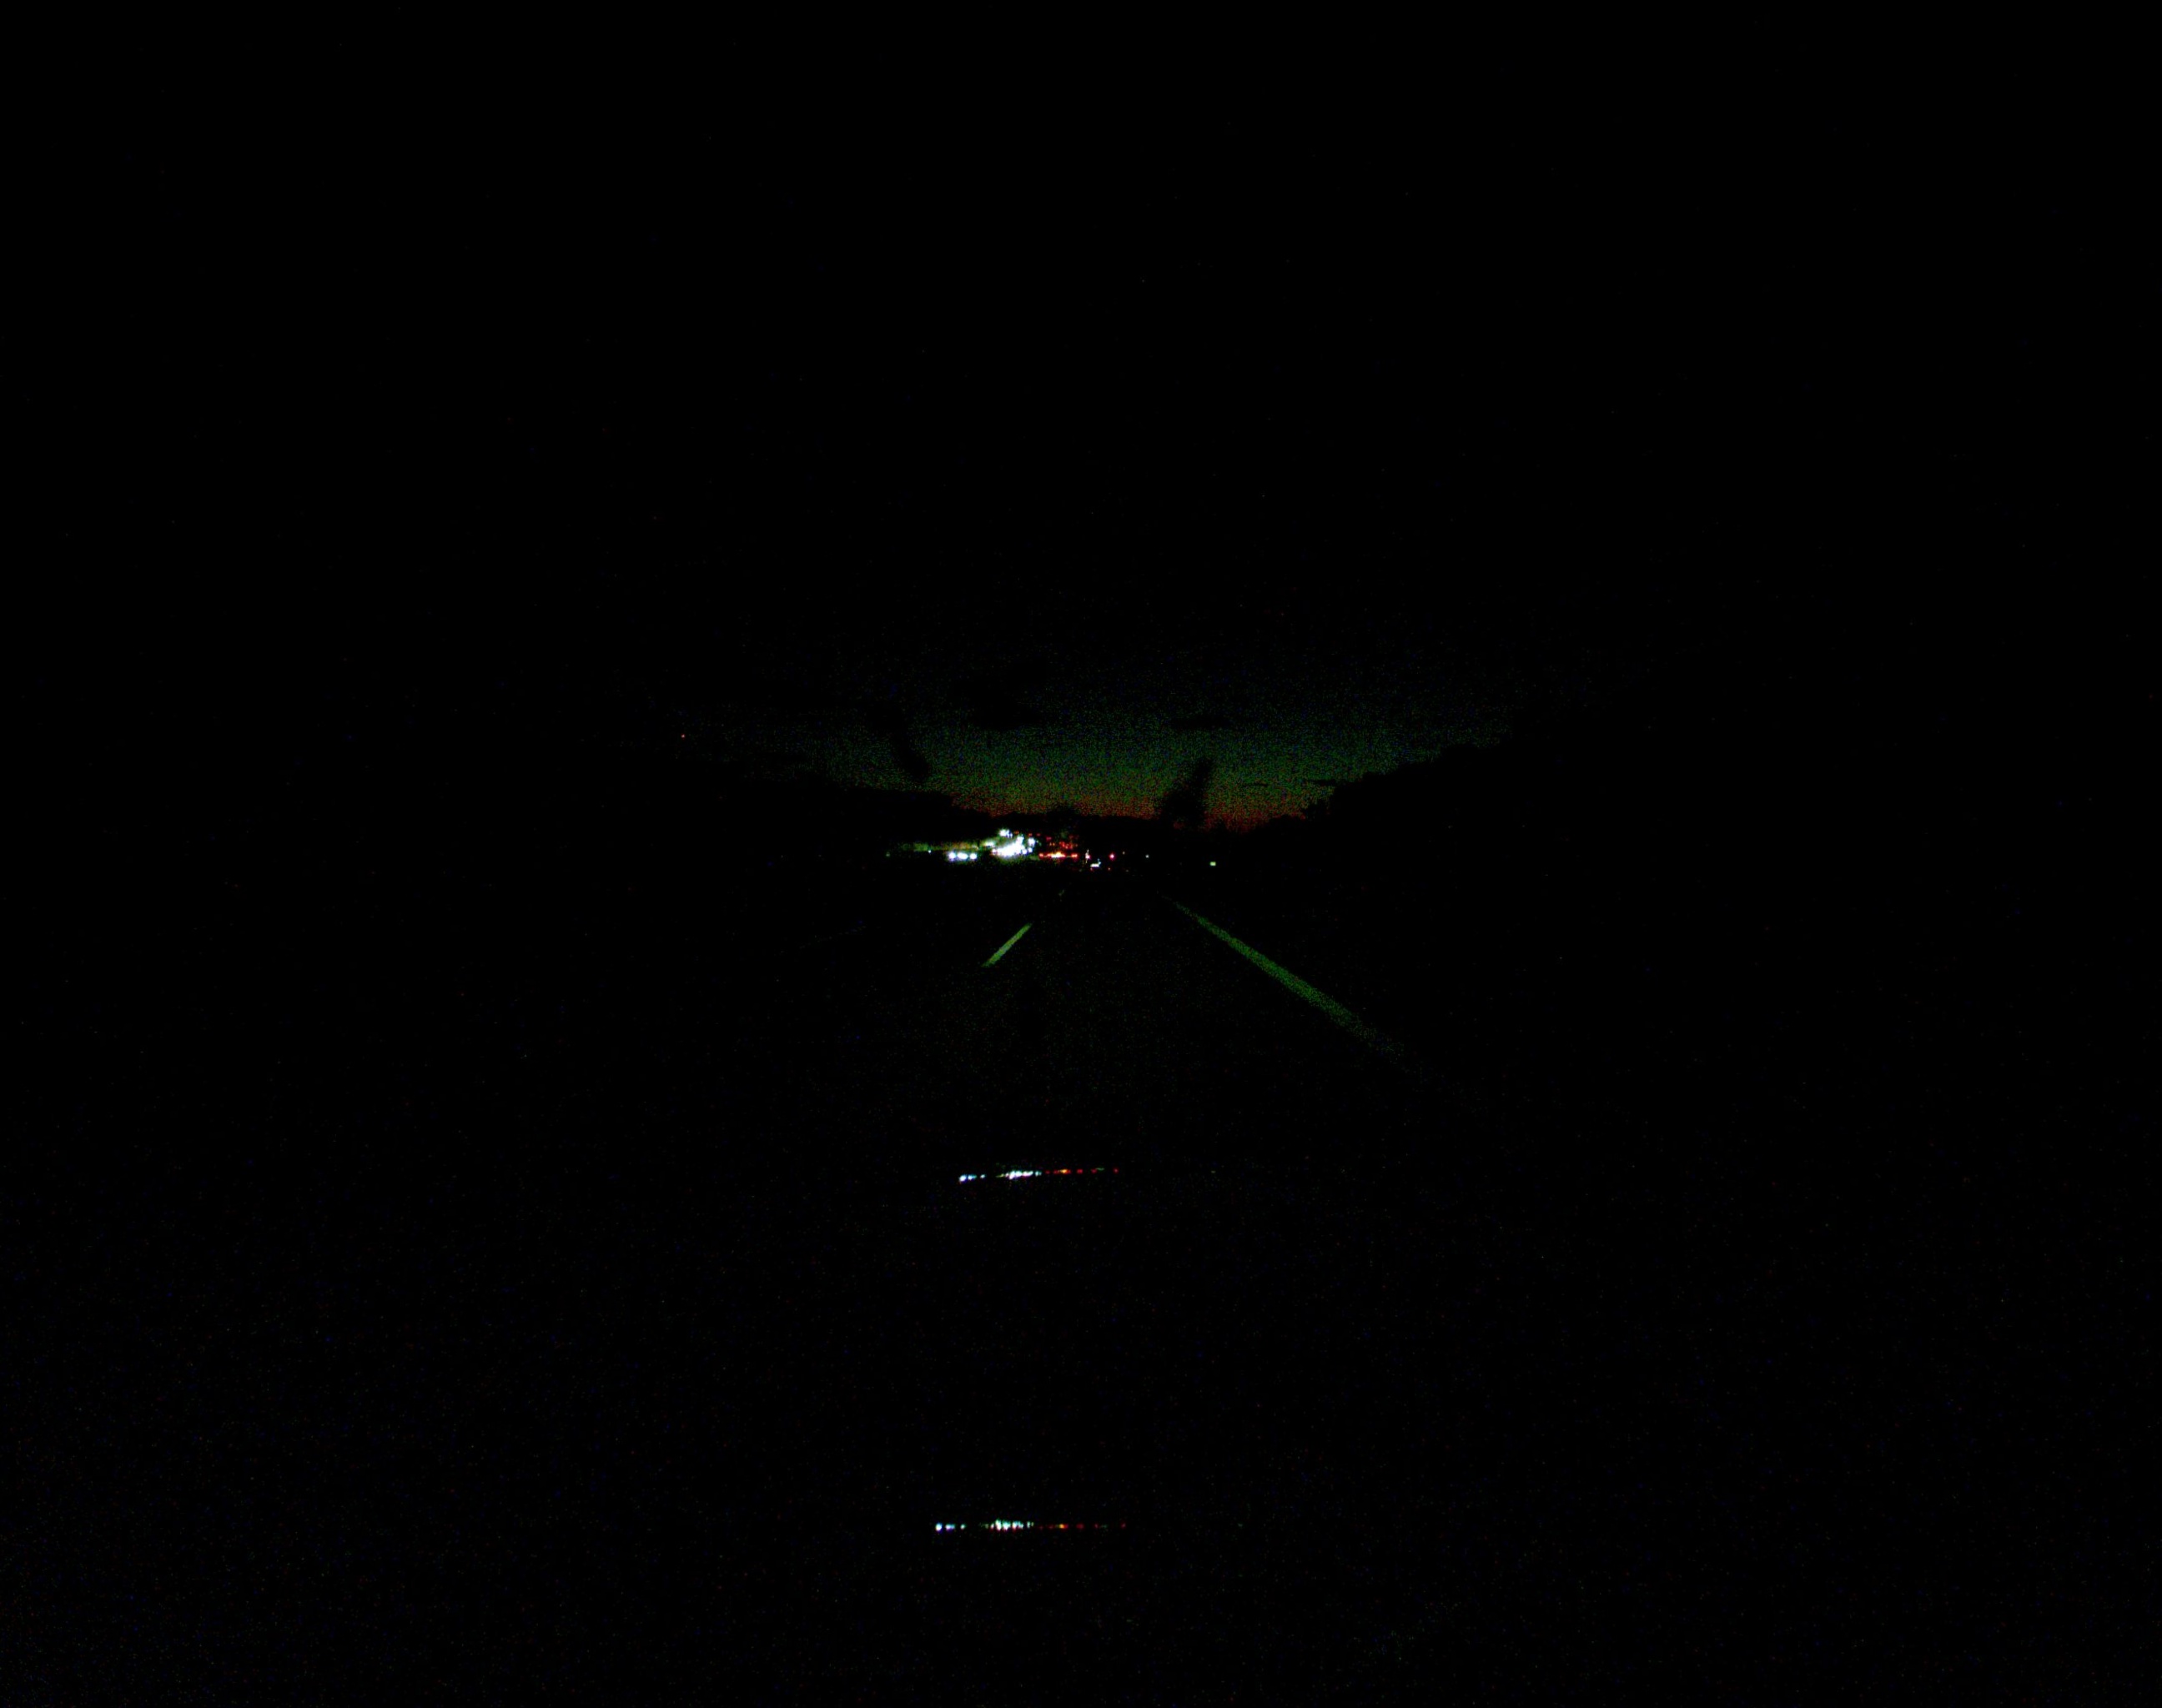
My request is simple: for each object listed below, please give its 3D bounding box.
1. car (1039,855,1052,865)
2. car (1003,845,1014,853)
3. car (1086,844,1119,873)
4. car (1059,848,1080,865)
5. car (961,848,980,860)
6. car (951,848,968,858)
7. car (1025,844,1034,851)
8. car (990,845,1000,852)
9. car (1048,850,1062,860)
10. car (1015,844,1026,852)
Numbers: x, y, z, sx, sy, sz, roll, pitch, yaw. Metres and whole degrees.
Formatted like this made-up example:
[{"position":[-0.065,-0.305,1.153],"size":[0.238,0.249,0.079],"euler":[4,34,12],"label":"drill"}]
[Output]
[{"position":[-5.341,0.895,123.537],"size":[1.543,1.431,5.517],"euler":[-1,-1,2],"label":"car"},{"position":[-17.589,-1.168,198.156],"size":[2.097,1.789,4.871],"euler":[0,1,1],"label":"car"},{"position":[1.526,0.303,58.145],"size":[2.189,1.955,4.764],"euler":[-1,0,1],"label":"car"},{"position":[-1.249,0.305,90.595],"size":[1.985,1.721,5.945],"euler":[-1,-1,2],"label":"car"},{"position":[-16.996,-0.019,125.476],"size":[2.097,1.789,4.660],"euler":[0,0,1],"label":"car"},{"position":[-20.954,-0.089,140.903],"size":[2.097,1.688,5.387],"euler":[0,0,1],"label":"car"},{"position":[-14.401,-1.868,226.663],"size":[2.097,1.789,4.871],"euler":[0,1,1],"label":"car"},{"position":[-22.877,-1.468,217.711],"size":[2.097,1.789,4.870],"euler":[0,0,1],"label":"car"},{"position":[-4.243,0.112,135.334],"size":[1.772,1.487,5.258],"euler":[-2,1,3],"label":"car"},{"position":[-13.939,-1.260,186.780],"size":[2.097,1.789,4.320],"euler":[0,0,1],"label":"car"}]
